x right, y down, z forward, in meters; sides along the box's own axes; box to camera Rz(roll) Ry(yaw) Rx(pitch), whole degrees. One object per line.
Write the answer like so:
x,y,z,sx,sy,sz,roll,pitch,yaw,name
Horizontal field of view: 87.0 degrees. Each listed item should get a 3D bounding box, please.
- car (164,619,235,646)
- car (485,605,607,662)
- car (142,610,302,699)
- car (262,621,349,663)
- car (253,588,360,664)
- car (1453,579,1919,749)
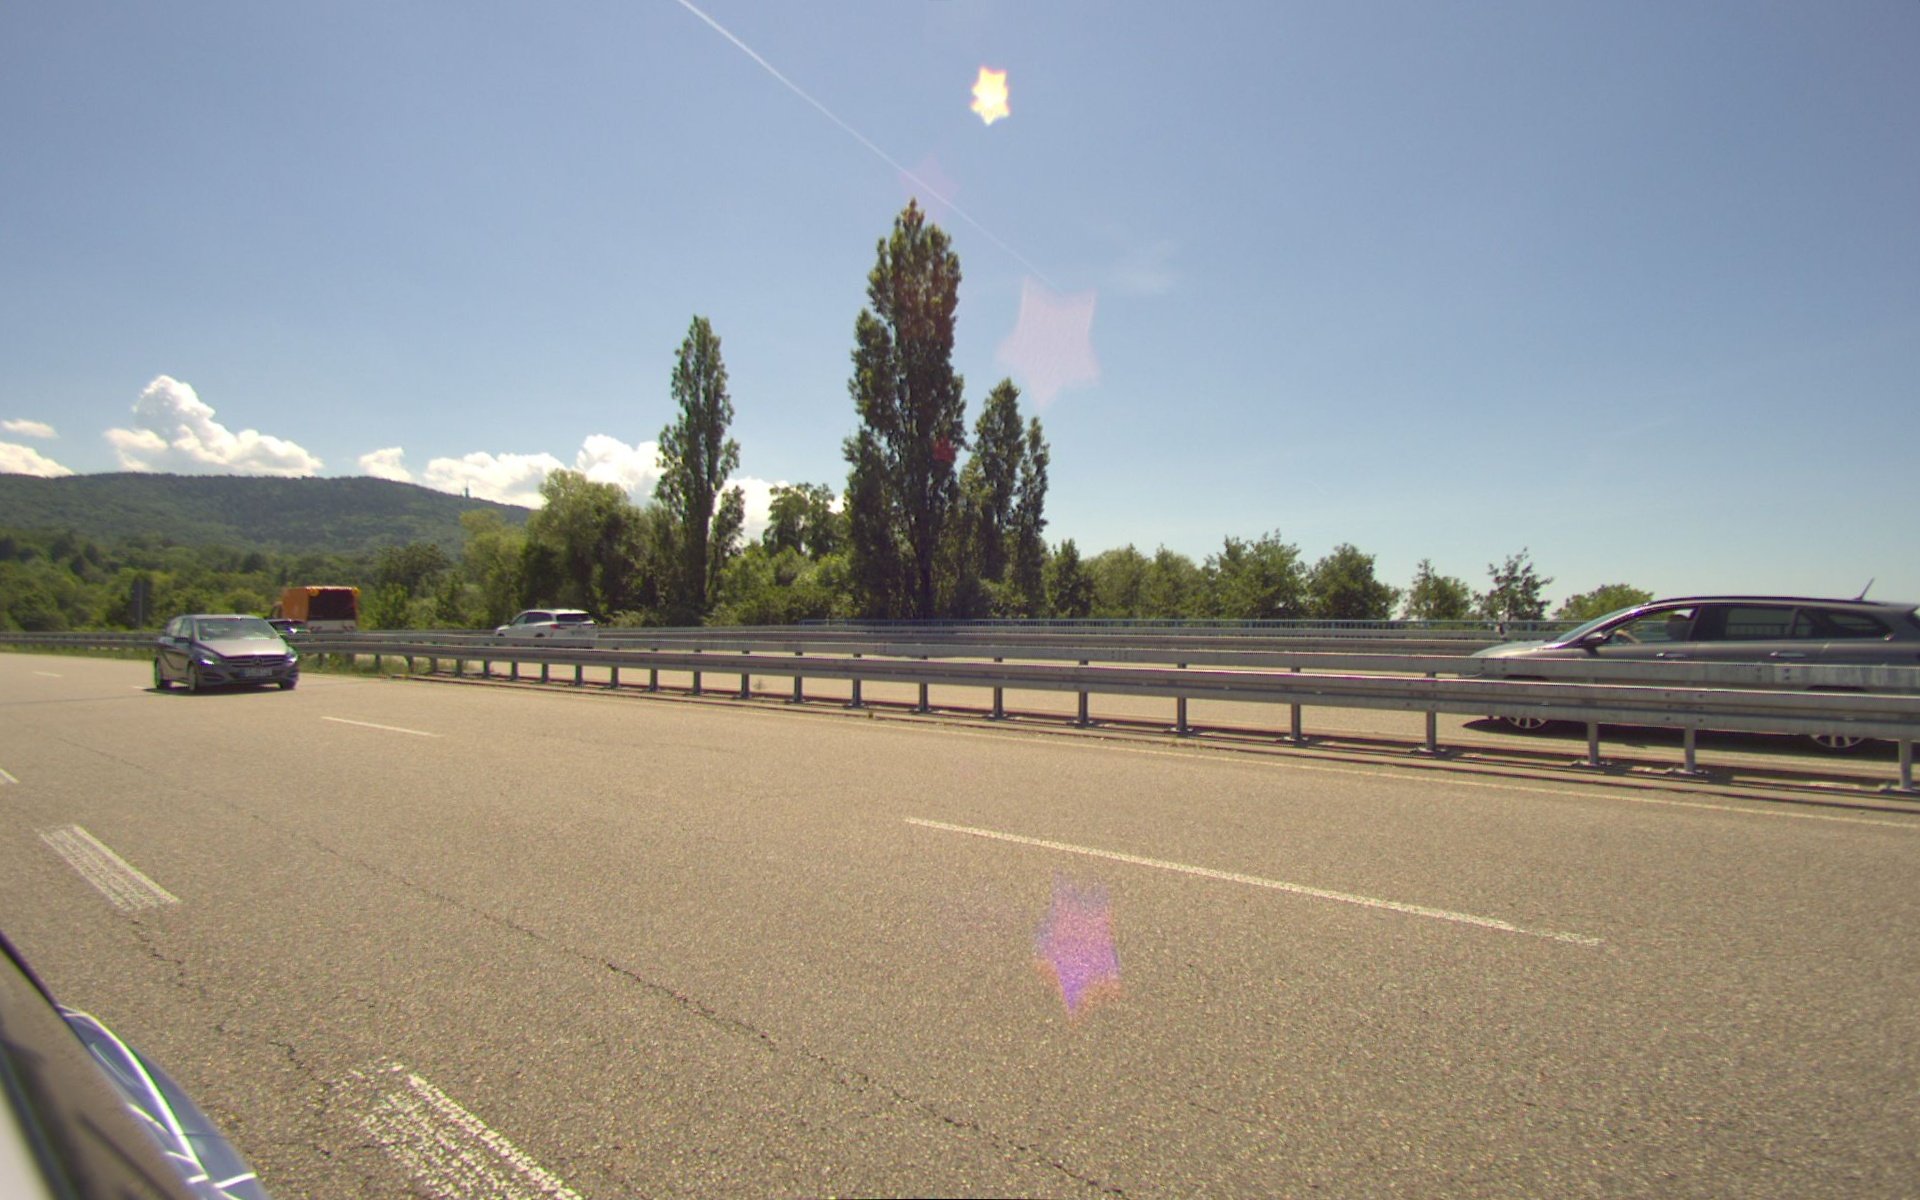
-43.167,1.828,57.416,4.784,1.443,1.836,-1,-2,35,car
-14.360,1.093,34.975,4.790,1.832,1.834,0,-1,39,car
-15.602,1.122,21.310,4.552,1.680,1.774,-3,-3,41,car
-24.573,1.533,37.948,3.946,1.439,1.707,0,-1,41,car
-30.785,1.225,47.573,7.023,3.317,2.282,-1,-2,40,car
8.021,0.605,10.743,4.681,1.516,1.885,-2,-1,41,car
